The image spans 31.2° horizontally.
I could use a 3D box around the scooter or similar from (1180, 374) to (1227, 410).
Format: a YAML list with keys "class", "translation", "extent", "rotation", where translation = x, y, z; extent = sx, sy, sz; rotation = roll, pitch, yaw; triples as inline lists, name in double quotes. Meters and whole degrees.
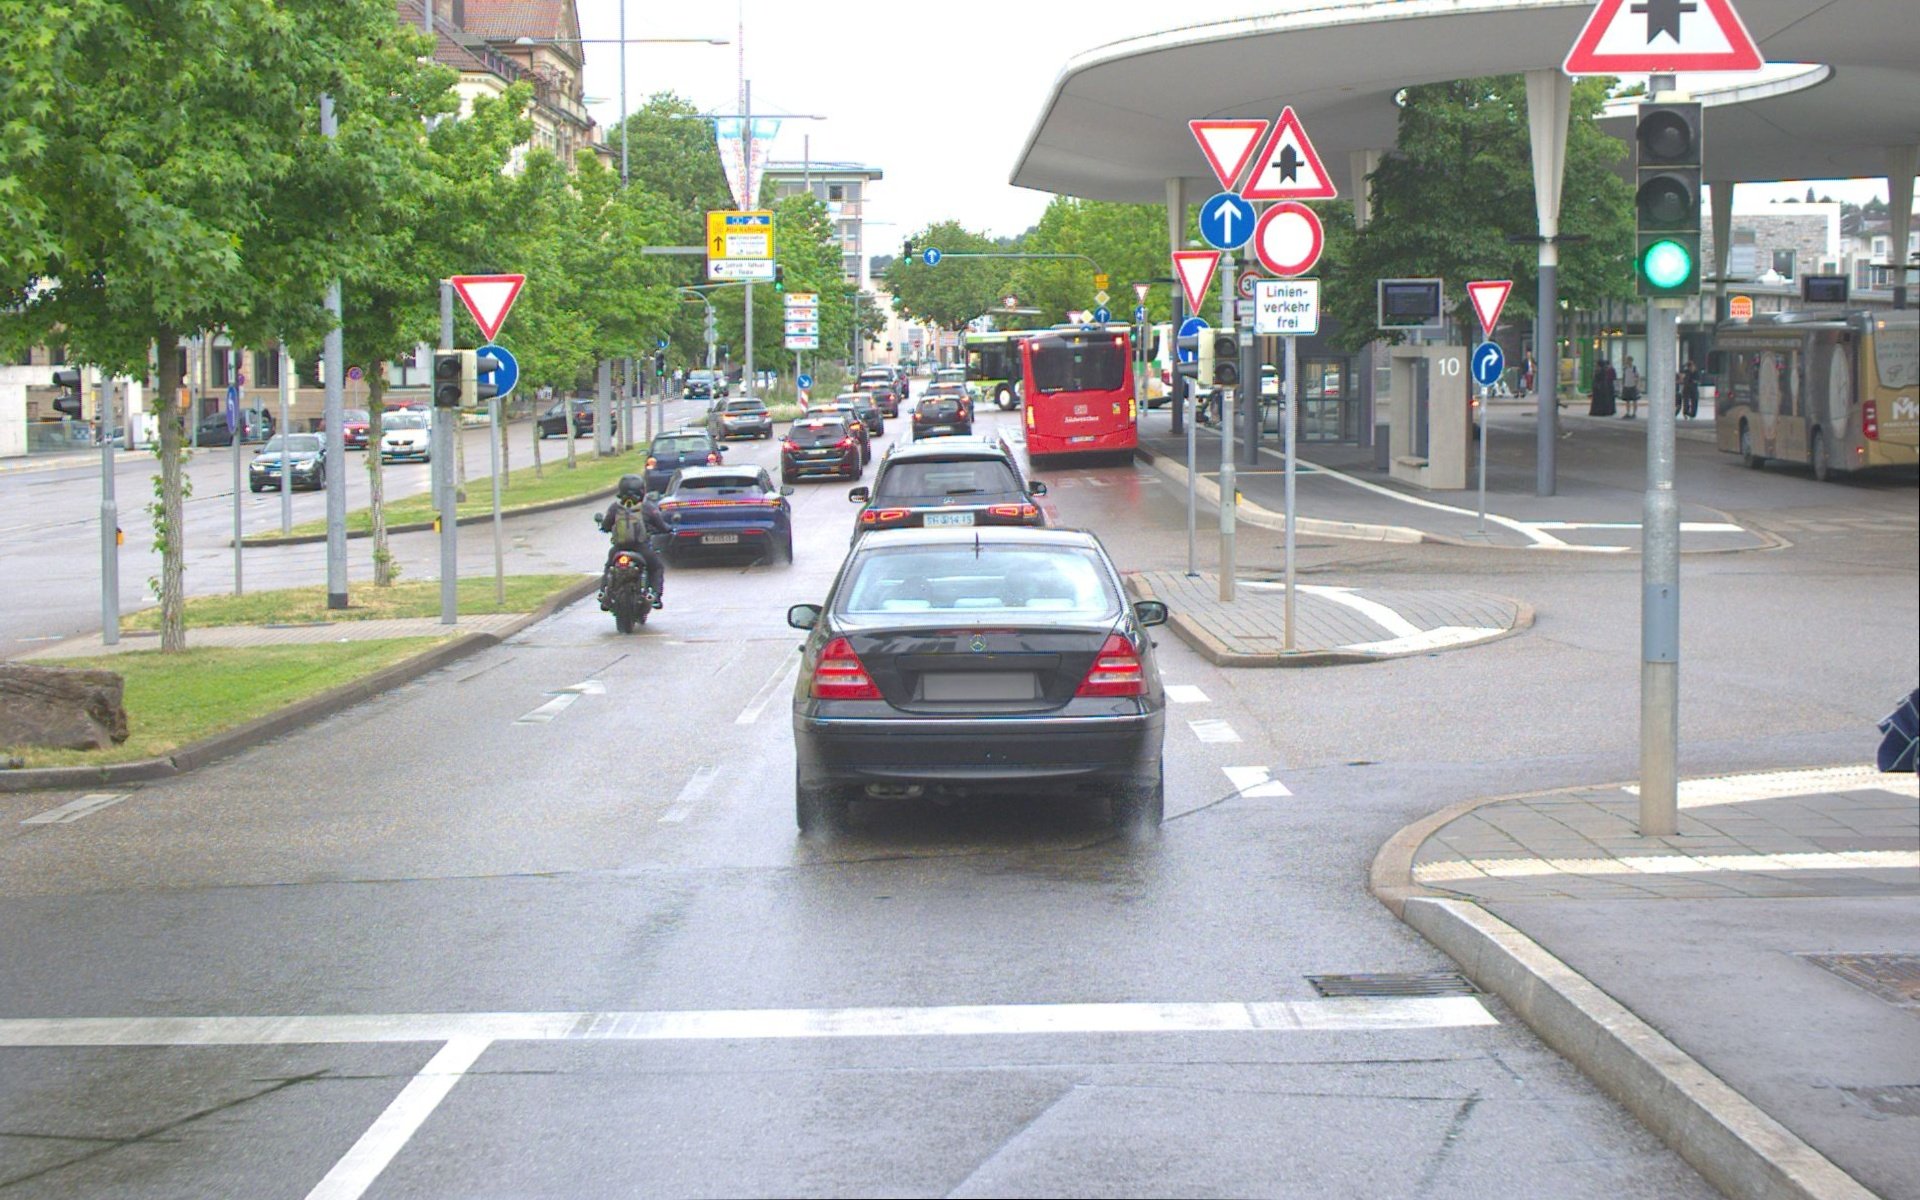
- class: "scooter or similar"
  translation: [7.143, -6.094, 100.760]
  extent: [1.243, 1.009, 0.764]
  rotation: [0, 4, 14]

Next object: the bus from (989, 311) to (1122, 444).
- class: "bus"
  translation: [2.474, -6.002, 91.957]
  extent: [3.291, 3.277, 8.851]
  rotation: [-2, 4, 1]

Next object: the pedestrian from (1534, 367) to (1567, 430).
- class: "pedestrian"
  translation: [14.924, -5.087, 86.917]
  extent: [0.598, 1.576, 0.712]
  rotation: [-1, 2, -9]

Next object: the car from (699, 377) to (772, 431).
- class: "car"
  translation: [-7.576, -6.572, 115.580]
  extent: [1.865, 1.678, 4.001]
  rotation: [2, 2, -12]

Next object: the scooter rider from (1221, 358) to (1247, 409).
- class: "scooter rider"
  translation: [8.013, -6.334, 100.517]
  extent: [0.592, 1.484, 0.764]
  rotation: [-1, 4, 14]

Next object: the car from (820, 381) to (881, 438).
- class: "car"
  translation: [-3.550, -6.206, 112.323]
  extent: [1.865, 1.678, 4.000]
  rotation: [2, 2, -1]

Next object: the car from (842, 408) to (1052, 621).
- class: "car"
  translation: [-0.134, -0.975, 36.245]
  extent: [1.957, 1.869, 4.875]
  rotation: [-3, 4, 0]

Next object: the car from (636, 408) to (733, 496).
- class: "car"
  translation: [-5.804, -3.160, 72.823]
  extent: [1.676, 1.617, 3.872]
  rotation: [-3, 4, 0]

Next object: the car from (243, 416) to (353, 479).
- class: "car"
  translation: [-17.366, -4.025, 90.353]
  extent: [1.847, 1.499, 4.920]
  rotation: [-1, 4, 1]

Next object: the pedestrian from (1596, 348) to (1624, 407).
- class: "pedestrian"
  translation: [19.205, -6.578, 101.559]
  extent: [0.580, 1.710, 0.560]
  rotation: [3, 1, 35]

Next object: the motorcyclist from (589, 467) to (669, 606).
- class: "motorcyclist"
  translation: [-3.334, -0.650, 34.676]
  extent: [0.641, 1.342, 0.689]
  rotation: [-2, 4, 3]

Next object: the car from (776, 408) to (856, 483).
- class: "car"
  translation: [-3.308, -3.601, 79.641]
  extent: [1.575, 1.499, 3.872]
  rotation: [-3, 4, 1]

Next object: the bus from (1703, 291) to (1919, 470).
- class: "bus"
  translation: [16.817, -4.251, 65.170]
  extent: [2.721, 3.032, 12.092]
  rotation: [-2, 4, 0]

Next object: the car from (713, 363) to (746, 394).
- class: "car"
  translation: [-12.950, -12.474, 193.411]
  extent: [1.575, 1.561, 3.431]
  rotation: [-3, 4, 0]

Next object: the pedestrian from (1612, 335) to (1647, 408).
- class: "pedestrian"
  translation: [18.975, -6.478, 97.443]
  extent: [0.724, 2.007, 0.669]
  rotation: [3, 1, 26]

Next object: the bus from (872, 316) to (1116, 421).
- class: "bus"
  translation: [1.260, -9.283, 138.960]
  extent: [2.839, 3.973, 11.860]
  rotation: [-5, 5, -39]

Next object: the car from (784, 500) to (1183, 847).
- class: "car"
  translation: [0.077, 0.253, 16.898]
  extent: [1.697, 1.457, 4.304]
  rotation: [0, 2, -1]

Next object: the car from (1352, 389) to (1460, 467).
- class: "car"
  translation: [8.974, -3.489, 69.399]
  extent: [1.647, 1.448, 3.239]
  rotation: [-1, 5, -2]

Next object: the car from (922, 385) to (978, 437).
- class: "car"
  translation: [-0.372, -6.706, 122.057]
  extent: [1.865, 1.678, 4.000]
  rotation: [2, 2, -1]

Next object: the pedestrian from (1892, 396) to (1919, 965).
- class: "pedestrian"
  translation: [3.070, 0.235, 10.043]
  extent: [0.522, 1.664, 0.580]
  rotation: [0, 1, -1]

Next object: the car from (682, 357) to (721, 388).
- class: "car"
  translation: [-14.104, -12.427, 187.536]
  extent: [1.780, 1.561, 3.431]
  rotation: [-3, 4, 0]

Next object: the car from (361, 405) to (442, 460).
- class: "car"
  translation: [-17.888, -5.384, 110.315]
  extent: [1.847, 1.646, 4.420]
  rotation: [-1, 4, 0]

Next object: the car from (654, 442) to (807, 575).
- class: "car"
  translation: [-3.218, -1.350, 48.982]
  extent: [1.816, 1.565, 4.405]
  rotation: [-3, 4, 0]

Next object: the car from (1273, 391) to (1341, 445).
- class: "car"
  translation: [11.289, -5.942, 111.954]
  extent: [1.711, 1.656, 4.241]
  rotation: [-1, 4, -1]

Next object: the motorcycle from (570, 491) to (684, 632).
- class: "motorcycle"
  translation: [-3.332, -0.407, 34.542]
  extent: [0.793, 1.257, 1.855]
  rotation: [-3, 4, 3]

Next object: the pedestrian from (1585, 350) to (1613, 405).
- class: "pedestrian"
  translation: [18.717, -6.528, 100.684]
  extent: [0.580, 1.572, 0.560]
  rotation: [3, 1, 29]

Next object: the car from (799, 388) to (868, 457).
- class: "car"
  translation: [-3.235, -4.580, 88.406]
  extent: [1.575, 1.561, 3.872]
  rotation: [-3, 4, 0]

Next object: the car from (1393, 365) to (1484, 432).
- class: "car"
  translation: [12.467, -5.285, 89.788]
  extent: [1.711, 1.656, 4.241]
  rotation: [-1, 4, -1]

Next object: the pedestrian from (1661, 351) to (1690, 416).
- class: "pedestrian"
  translation: [18.495, -5.600, 88.890]
  extent: [0.560, 1.686, 0.614]
  rotation: [-1, 4, -7]

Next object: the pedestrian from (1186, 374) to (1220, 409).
- class: "pedestrian"
  translation: [7.109, -6.100, 100.578]
  extent: [0.914, 0.981, 0.633]
  rotation: [0, 0, 14]

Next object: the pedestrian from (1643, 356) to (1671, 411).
- class: "pedestrian"
  translation: [20.509, -6.378, 101.143]
  extent: [0.580, 1.572, 0.560]
  rotation: [3, 1, 35]

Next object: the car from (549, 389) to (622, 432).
- class: "car"
  translation: [-14.189, -7.177, 130.101]
  extent: [1.727, 1.555, 3.770]
  rotation: [-2, 3, -23]

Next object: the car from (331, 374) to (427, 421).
- class: "car"
  translation: [-23.581, -8.224, 139.486]
  extent: [3.635, 1.798, 1.644]
  rotation: [3, 1, 34]

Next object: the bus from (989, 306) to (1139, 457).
- class: "bus"
  translation: [2.412, -5.365, 83.356]
  extent: [3.286, 3.280, 10.880]
  rotation: [-2, 4, 1]

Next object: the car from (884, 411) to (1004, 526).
- class: "car"
  translation: [-0.257, -2.112, 54.503]
  extent: [1.741, 1.561, 3.872]
  rotation: [-3, 4, 0]

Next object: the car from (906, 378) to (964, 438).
- class: "car"
  translation: [-0.713, -5.623, 100.499]
  extent: [1.575, 1.561, 3.872]
  rotation: [-3, 4, 0]
